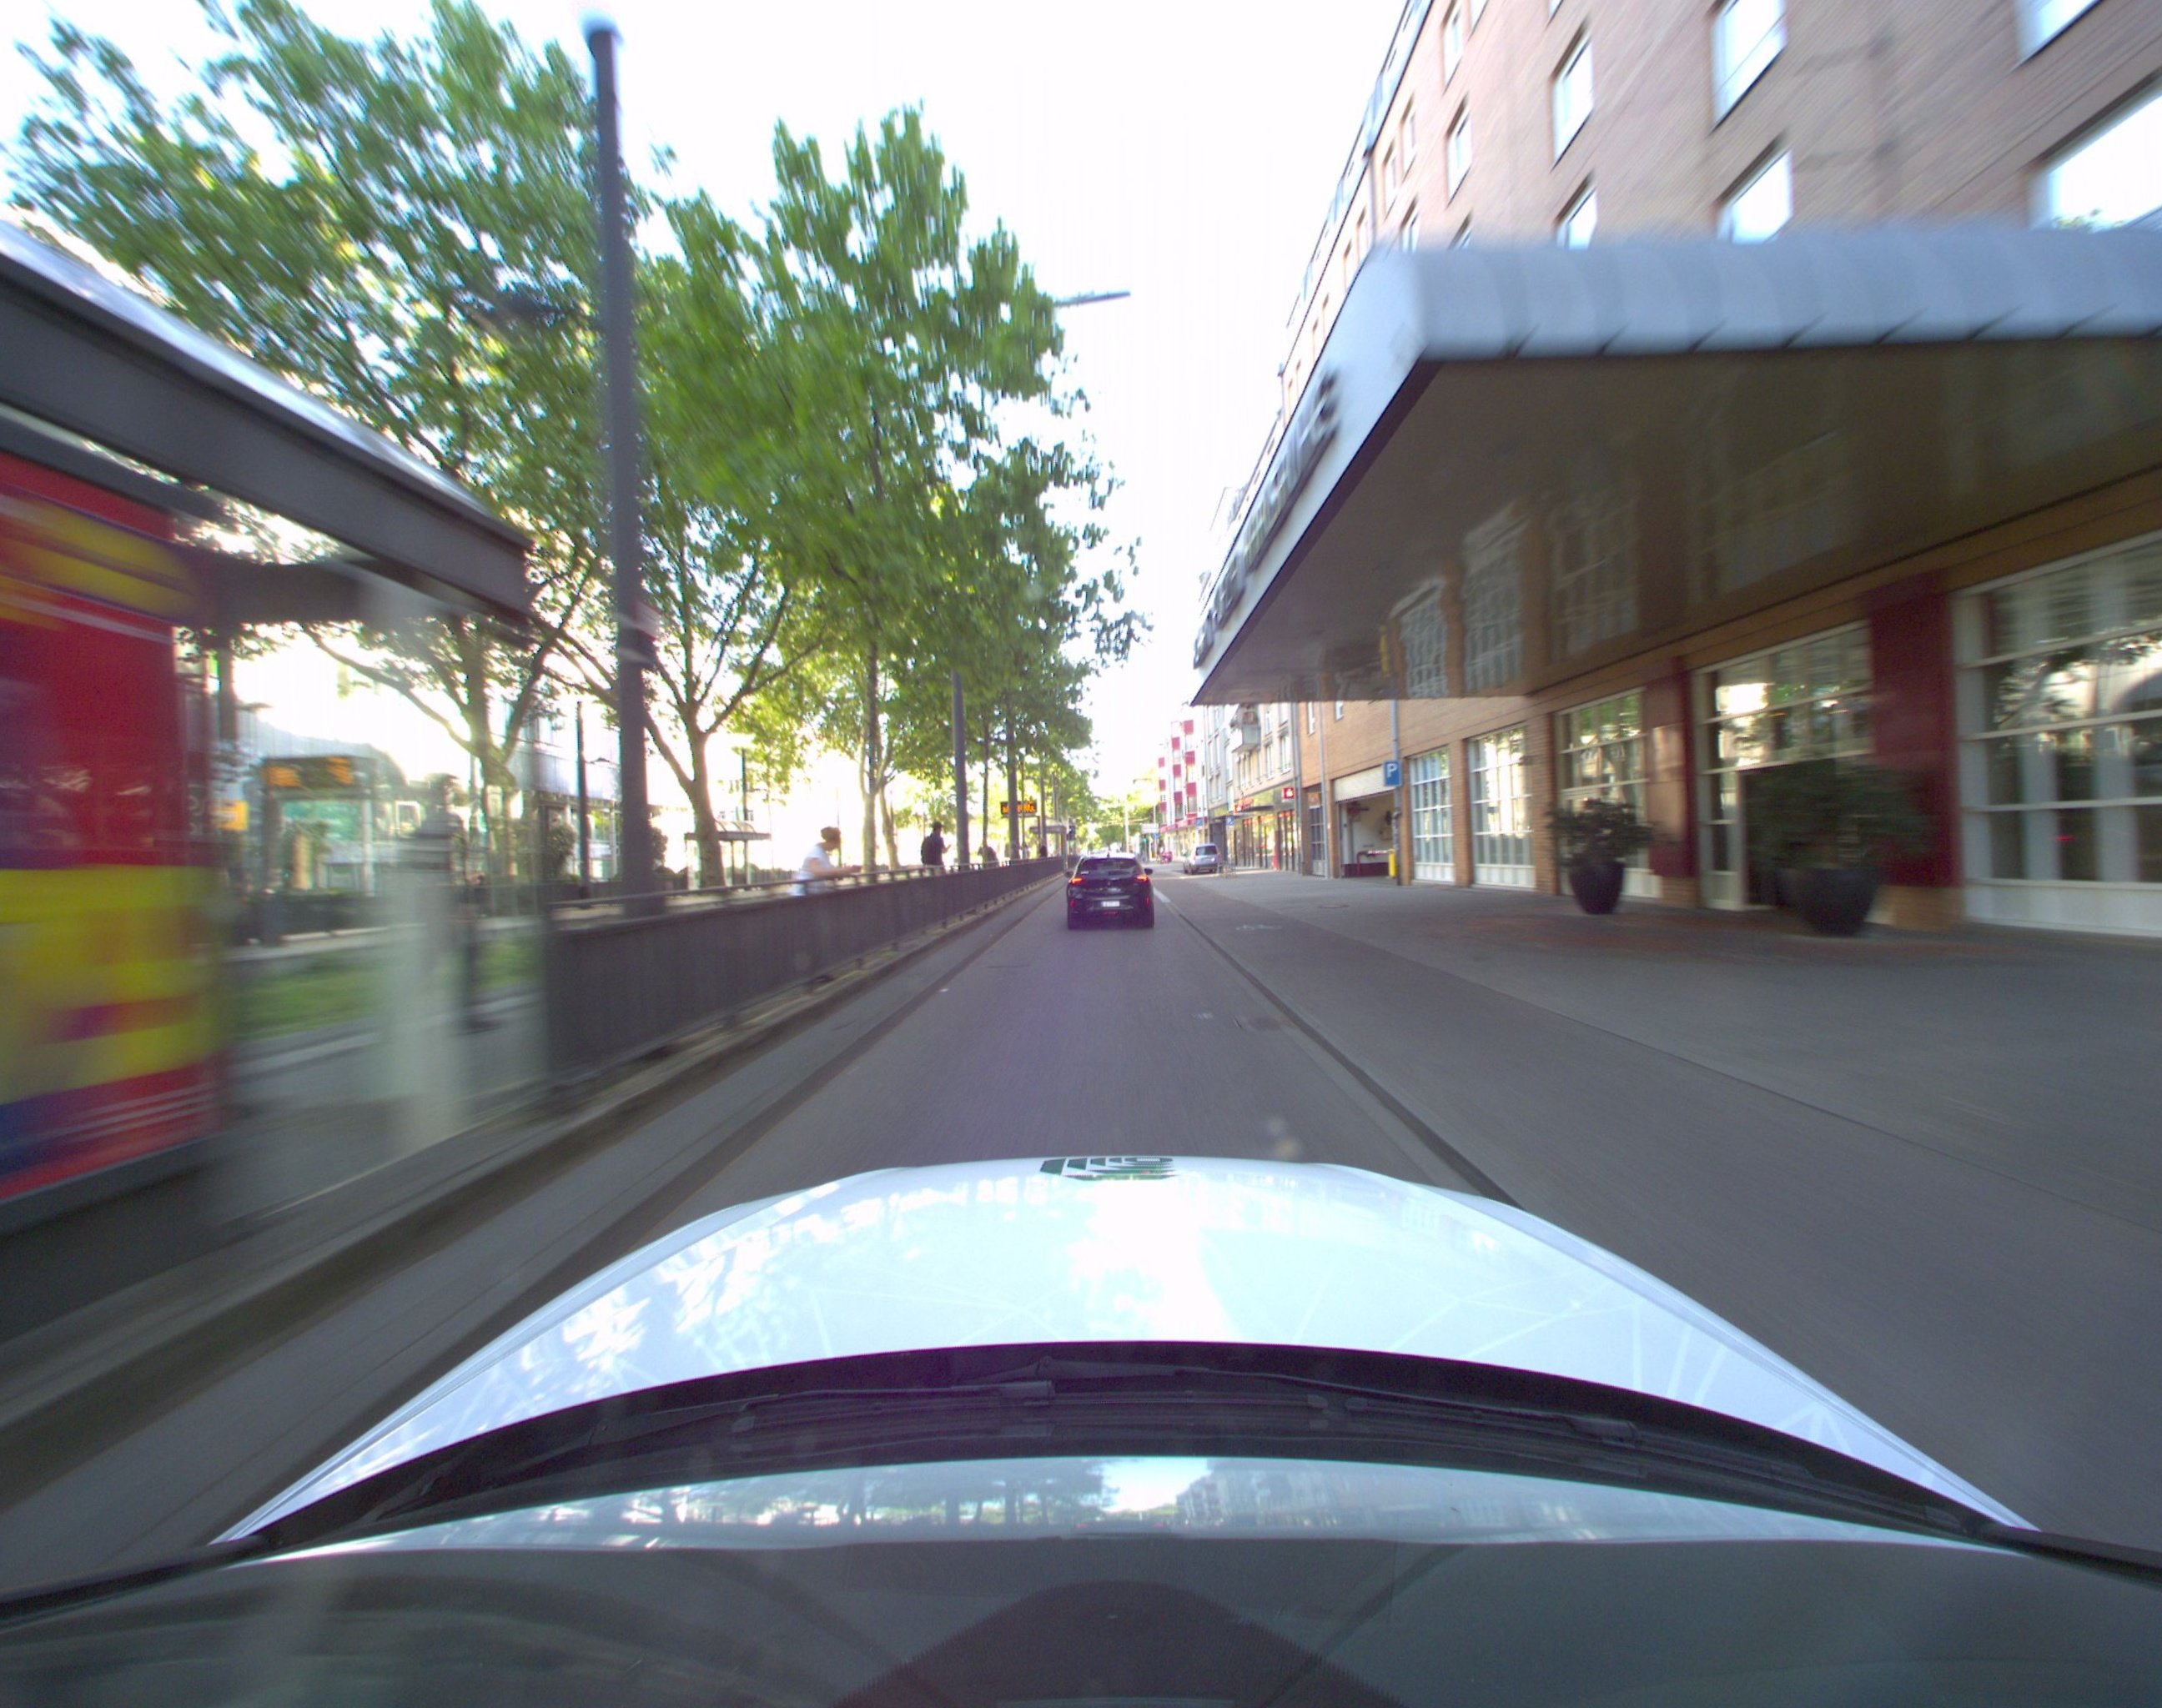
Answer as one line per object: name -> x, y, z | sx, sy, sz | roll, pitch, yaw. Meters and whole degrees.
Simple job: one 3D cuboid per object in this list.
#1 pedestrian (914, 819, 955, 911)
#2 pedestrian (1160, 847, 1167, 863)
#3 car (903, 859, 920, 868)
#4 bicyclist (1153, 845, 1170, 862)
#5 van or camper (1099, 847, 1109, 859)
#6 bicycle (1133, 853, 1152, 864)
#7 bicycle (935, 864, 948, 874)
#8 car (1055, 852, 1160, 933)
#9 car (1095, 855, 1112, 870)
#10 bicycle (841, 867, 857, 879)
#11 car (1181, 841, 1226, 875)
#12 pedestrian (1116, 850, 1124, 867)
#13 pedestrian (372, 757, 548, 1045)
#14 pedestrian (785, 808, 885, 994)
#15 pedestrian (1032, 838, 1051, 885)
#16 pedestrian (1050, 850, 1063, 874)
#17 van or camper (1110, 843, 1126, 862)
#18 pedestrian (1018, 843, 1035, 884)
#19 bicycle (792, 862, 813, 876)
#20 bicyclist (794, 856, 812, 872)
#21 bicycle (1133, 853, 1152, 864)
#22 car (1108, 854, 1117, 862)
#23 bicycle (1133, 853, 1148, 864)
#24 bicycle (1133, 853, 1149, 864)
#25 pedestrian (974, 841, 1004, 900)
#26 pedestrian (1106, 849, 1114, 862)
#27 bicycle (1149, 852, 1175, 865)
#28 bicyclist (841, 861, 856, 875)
pedestrian -> -2.988, 0.219, 16.687 | 0.705, 1.802, 0.825 | -2, 0, -6
pedestrian -> 10.347, 0.125, 101.999 | 0.720, 1.857, 0.801 | -2, 0, 0
car -> -31.615, 1.759, 152.005 | 1.984, 1.703, 4.385 | -3, 0, 5
bicyclist -> 7.710, -0.026, 77.970 | 1.065, 1.540, 1.066 | -2, -1, -40
van or camper -> 6.207, -0.241, 220.615 | 2.477, 2.993, 5.436 | 0, 0, 2
bicycle -> 6.812, 0.512, 90.382 | 1.973, 1.199, 0.590 | -2, -1, -4
bicycle -> -14.035, 1.468, 81.791 | 0.808, 0.946, 1.729 | -2, 0, 7
car -> 0.563, 0.714, 17.225 | 1.898, 1.425, 4.217 | -2, 0, 2
car -> 2.604, 0.908, 92.288 | 1.826, 1.622, 4.286 | -2, 0, 2
bicycle -> -21.905, 1.792, 76.792 | 0.798, 0.997, 2.584 | -1, 0, -1
car -> 6.631, 0.216, 44.591 | 1.826, 1.622, 4.286 | -5, 0, 2
pedestrian -> 4.123, 0.510, 86.450 | 0.730, 1.746, 0.713 | -2, 0, 6
pedestrian -> -4.216, 0.302, 5.574 | 0.644, 1.839, 0.638 | -2, 0, 1
pedestrian -> -2.307, 0.424, 7.702 | 0.738, 1.690, 0.645 | 0, 0, 0
pedestrian -> -1.603, 0.296, 32.896 | 0.644, 1.886, 0.661 | -2, 0, 1
pedestrian -> -1.365, 0.423, 45.375 | 0.624, 1.319, 0.801 | -2, 0, 2
van or camper -> 6.651, -0.172, 146.960 | 2.368, 3.125, 7.549 | -5, 0, 0
pedestrian -> -2.543, 0.450, 37.827 | 0.643, 1.871, 0.753 | -2, 0, 2
bicycle -> -22.466, 1.193, 65.783 | 0.798, 0.997, 2.584 | -1, 0, -1
bicyclist -> -22.483, 0.790, 65.863 | 1.001, 1.250, 1.373 | -1, 0, -1
bicycle -> 6.787, 0.511, 89.647 | 1.935, 1.170, 0.572 | -2, -1, -3
car -> 6.684, 0.810, 173.907 | 1.784, 1.510, 3.875 | -4, 0, 1
bicycle -> 6.696, 0.524, 91.842 | 1.615, 1.199, 0.497 | -2, -1, 5
bicycle -> 6.732, 0.527, 91.270 | 1.823, 1.221, 0.496 | -2, 0, 4
pedestrian -> -2.744, 0.490, 24.332 | 0.726, 1.702, 0.863 | -2, 0, 3
pedestrian -> 4.577, 0.180, 128.677 | 1.033, 2.024, 1.212 | -2, 0, -1
bicycle -> 7.737, 0.446, 77.967 | 0.968, 1.183, 2.567 | -2, 0, -40
bicyclist -> -21.894, 1.280, 76.738 | 1.001, 1.250, 1.373 | -1, 0, -1
